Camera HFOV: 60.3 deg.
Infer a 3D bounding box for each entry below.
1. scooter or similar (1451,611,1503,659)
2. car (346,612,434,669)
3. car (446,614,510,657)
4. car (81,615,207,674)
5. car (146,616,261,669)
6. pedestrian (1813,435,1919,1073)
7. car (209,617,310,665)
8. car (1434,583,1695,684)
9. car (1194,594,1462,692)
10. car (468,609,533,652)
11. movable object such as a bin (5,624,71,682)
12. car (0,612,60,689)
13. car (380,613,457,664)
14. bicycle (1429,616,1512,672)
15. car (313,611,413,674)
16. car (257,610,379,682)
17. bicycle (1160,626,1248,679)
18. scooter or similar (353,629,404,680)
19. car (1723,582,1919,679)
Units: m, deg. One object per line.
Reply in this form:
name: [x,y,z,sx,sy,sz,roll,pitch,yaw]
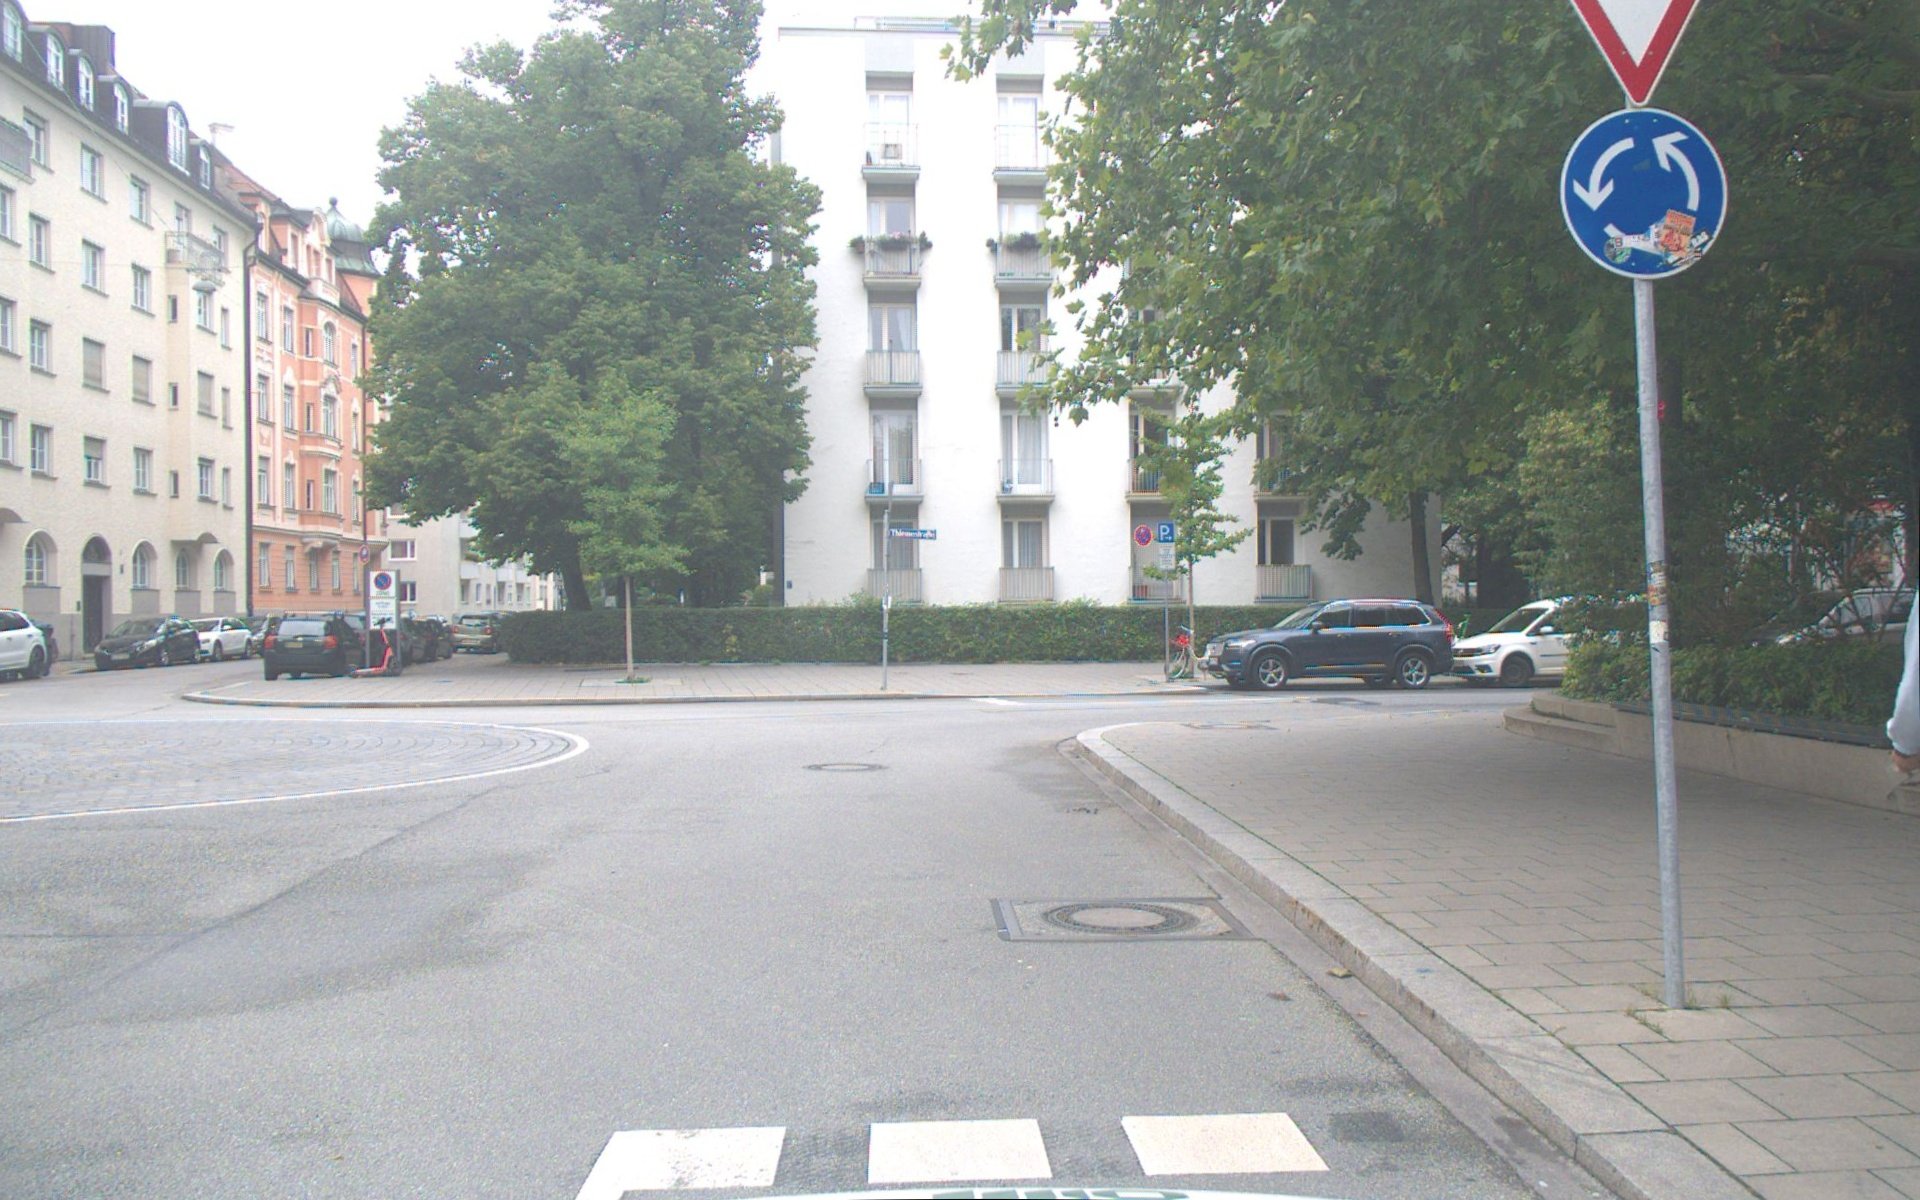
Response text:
scooter or similar: [13.163,0.881,42.109,1.188,1.214,0.399,0,-1,-7]
car: [-16.664,1.154,48.481,1.761,1.531,4.105,-2,0,-10]
car: [-18.951,1.371,65.201,1.801,1.531,4.107,-2,0,-8]
car: [-23.947,1.265,48.727,1.939,1.644,4.703,0,0,-8]
car: [-24.417,1.344,53.583,1.936,1.608,4.404,0,0,-4]
pedestrian: [3.141,0.432,4.760,0.855,1.802,1.052,-1,-1,5]
car: [-24.816,1.410,58.730,1.936,1.608,4.404,0,0,-4]
car: [12.364,0.674,33.930,4.746,1.952,1.830,0,-1,-11]
car: [7.268,0.837,32.875,4.808,1.823,1.995,0,-1,-10]
car: [-19.362,1.264,69.792,1.799,1.663,4.111,-2,0,-4]
movable object such as a bin: [-23.781,1.347,42.692,1.069,1.450,1.173,-1,0,-4]
car: [-22.895,1.160,38.226,1.937,1.730,4.834,0,0,-6]
car: [-17.684,1.230,54.172,1.761,1.531,4.105,-2,0,-10]
bicycle: [11.062,0.945,35.905,0.531,1.169,1.810,-1,0,-32]
car: [-15.808,1.095,43.979,1.761,1.531,4.224,-2,0,-10]
car: [-14.968,1.035,38.794,1.786,1.531,4.411,-2,0,-10]
bicycle: [5.179,1.111,35.105,1.795,1.067,0.489,-1,0,-16]
scooter or similar: [-12.742,1.187,36.257,0.989,1.108,0.386,0,-1,-33]
car: [19.089,0.628,35.224,5.103,1.967,1.886,0,-1,-15]
